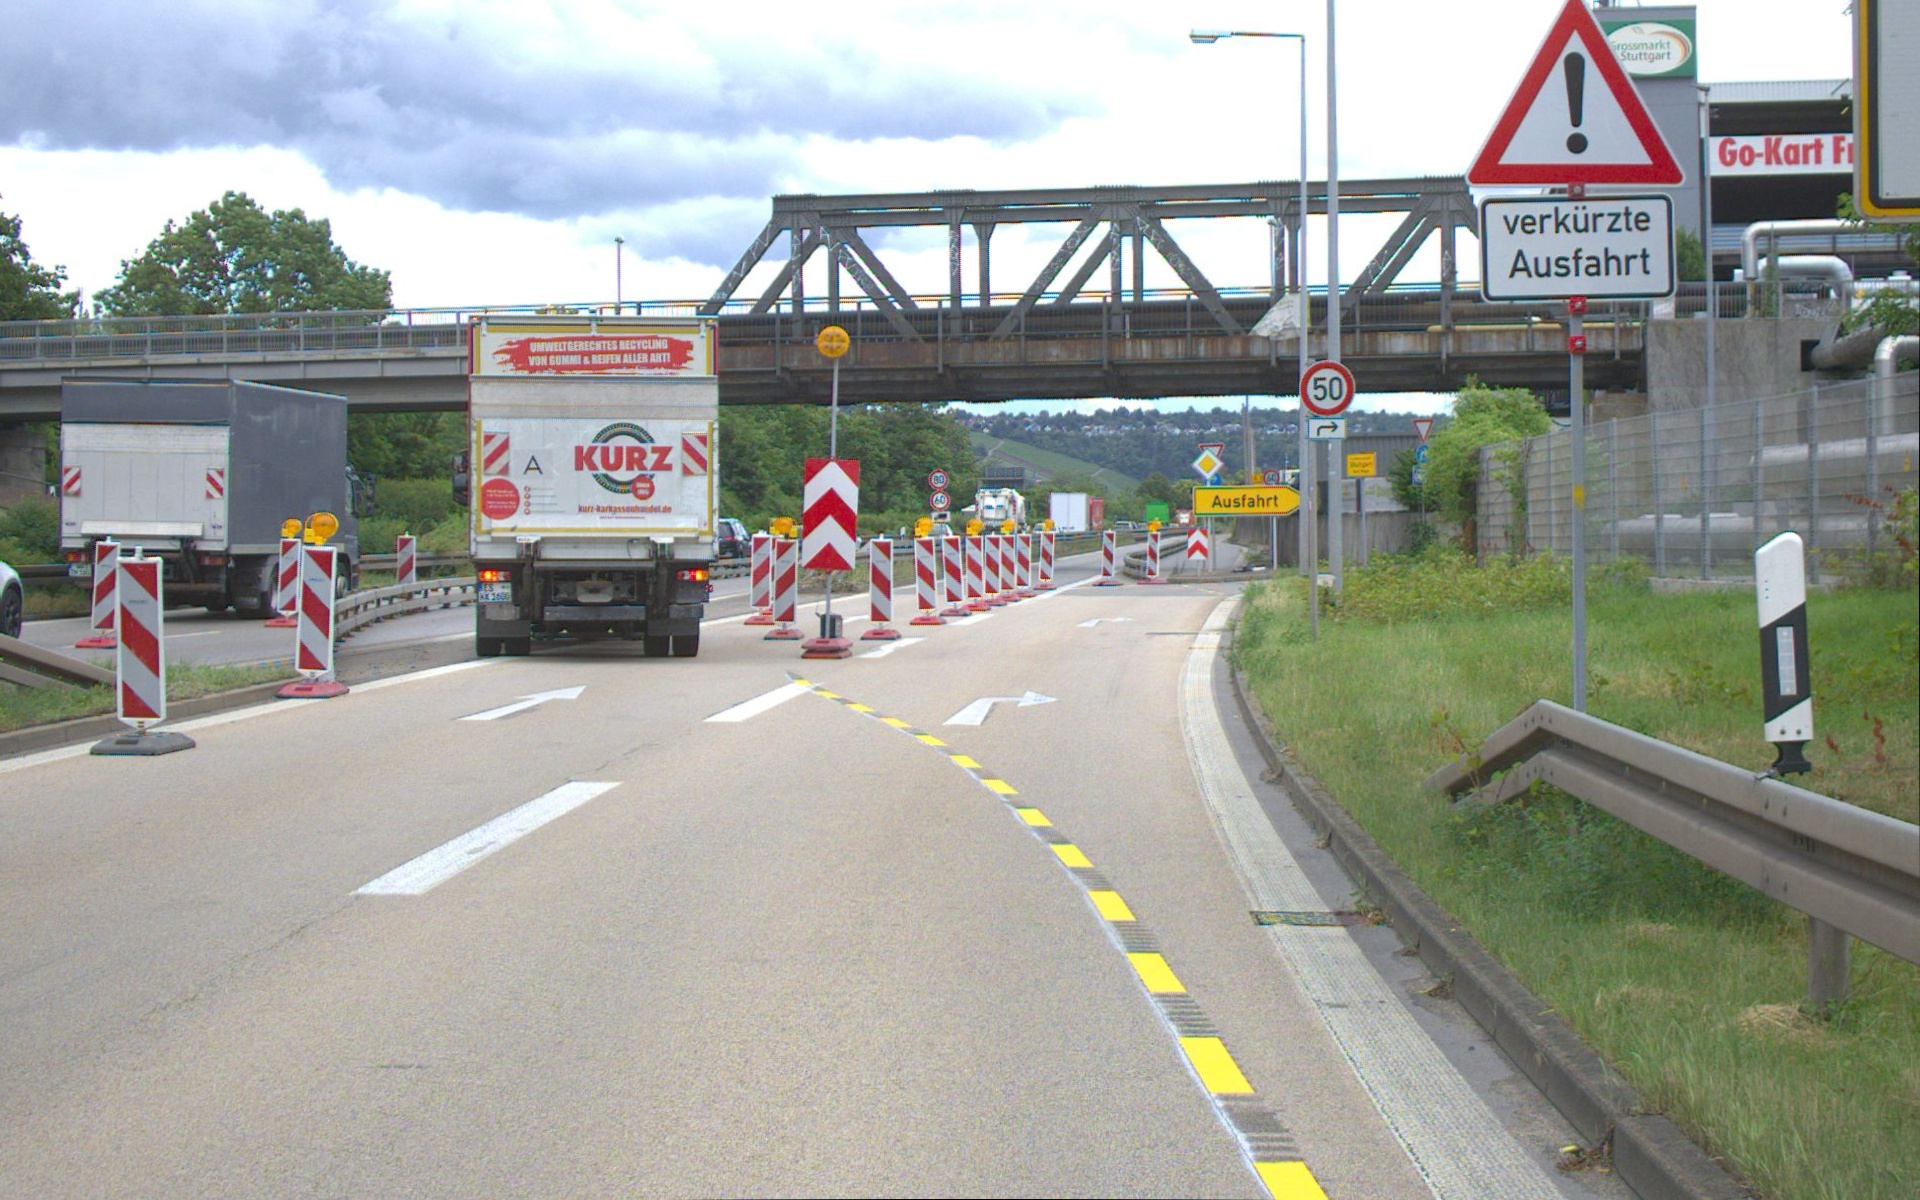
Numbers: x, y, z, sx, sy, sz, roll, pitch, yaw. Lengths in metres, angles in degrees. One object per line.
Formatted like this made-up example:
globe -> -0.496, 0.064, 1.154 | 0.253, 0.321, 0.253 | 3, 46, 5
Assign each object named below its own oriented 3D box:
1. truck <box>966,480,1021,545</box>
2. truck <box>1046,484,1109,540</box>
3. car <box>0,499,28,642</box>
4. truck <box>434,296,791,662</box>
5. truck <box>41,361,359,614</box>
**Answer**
truck -> 2.099, -5.325, 210.703 | 3.286, 3.839, 7.664 | 0, 0, 1
truck -> 7.838, -5.856, 230.045 | 3.908, 3.537, 8.141 | 0, 0, 0
car -> -12.573, -0.345, 40.041 | 1.994, 1.707, 4.100 | 0, 0, 6
truck -> -3.682, -1.219, 38.416 | 3.051, 3.660, 7.927 | 0, 0, 1
truck -> -11.663, -1.660, 53.518 | 3.051, 3.644, 7.395 | 0, 0, 2
